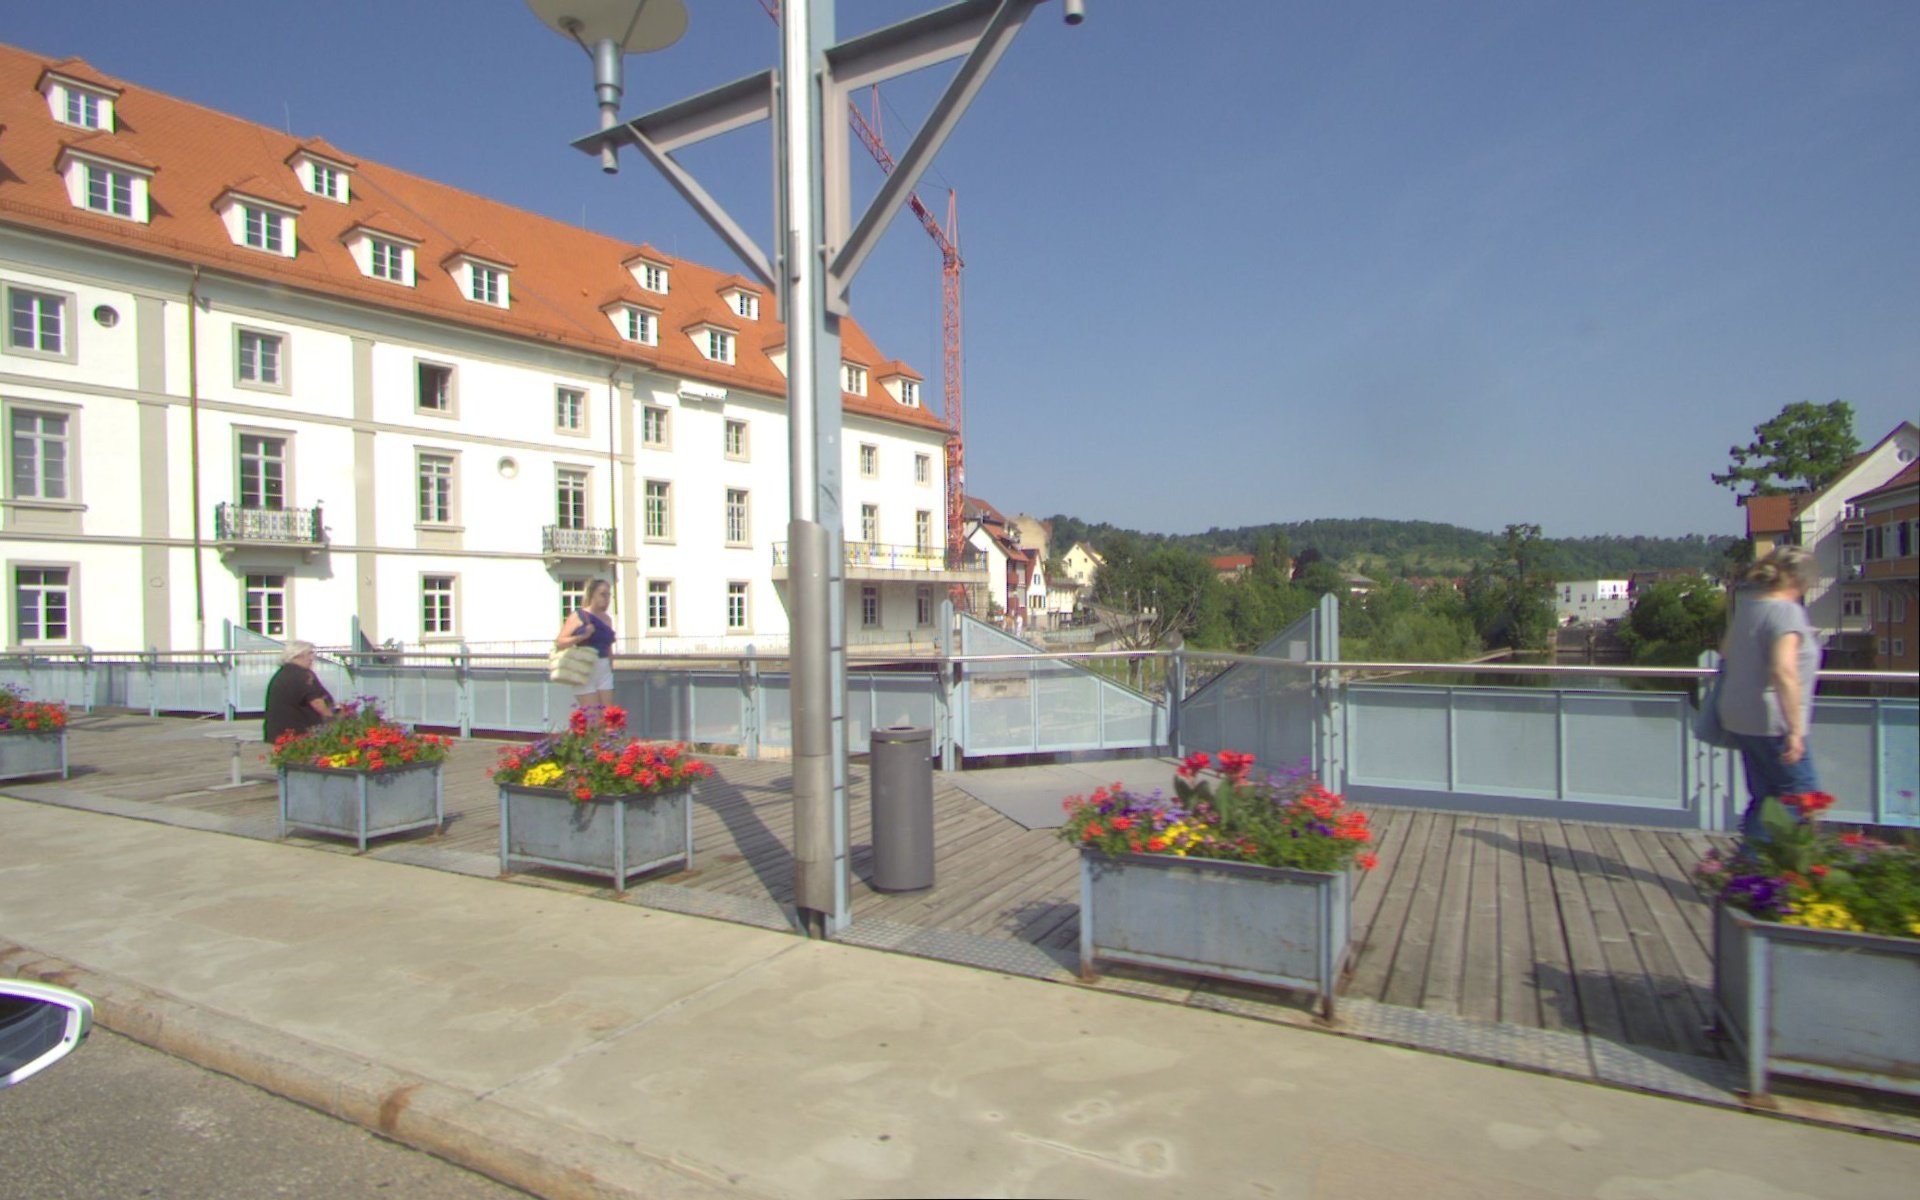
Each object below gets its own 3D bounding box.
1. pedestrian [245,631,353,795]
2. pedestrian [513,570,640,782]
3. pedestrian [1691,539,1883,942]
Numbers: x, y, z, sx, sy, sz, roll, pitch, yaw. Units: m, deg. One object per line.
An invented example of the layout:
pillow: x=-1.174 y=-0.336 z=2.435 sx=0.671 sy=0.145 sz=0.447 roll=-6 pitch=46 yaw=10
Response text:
pedestrian: x=-5.356 y=0.893 z=8.118 sx=0.616 sy=1.260 sz=0.452 roll=-1 pitch=0 yaw=24
pedestrian: x=-3.335 y=0.638 z=8.735 sx=0.735 sy=1.746 sz=0.726 roll=0 pitch=0 yaw=25
pedestrian: x=3.675 y=0.579 z=4.499 sx=0.555 sy=1.639 sz=0.665 roll=0 pitch=0 yaw=30
